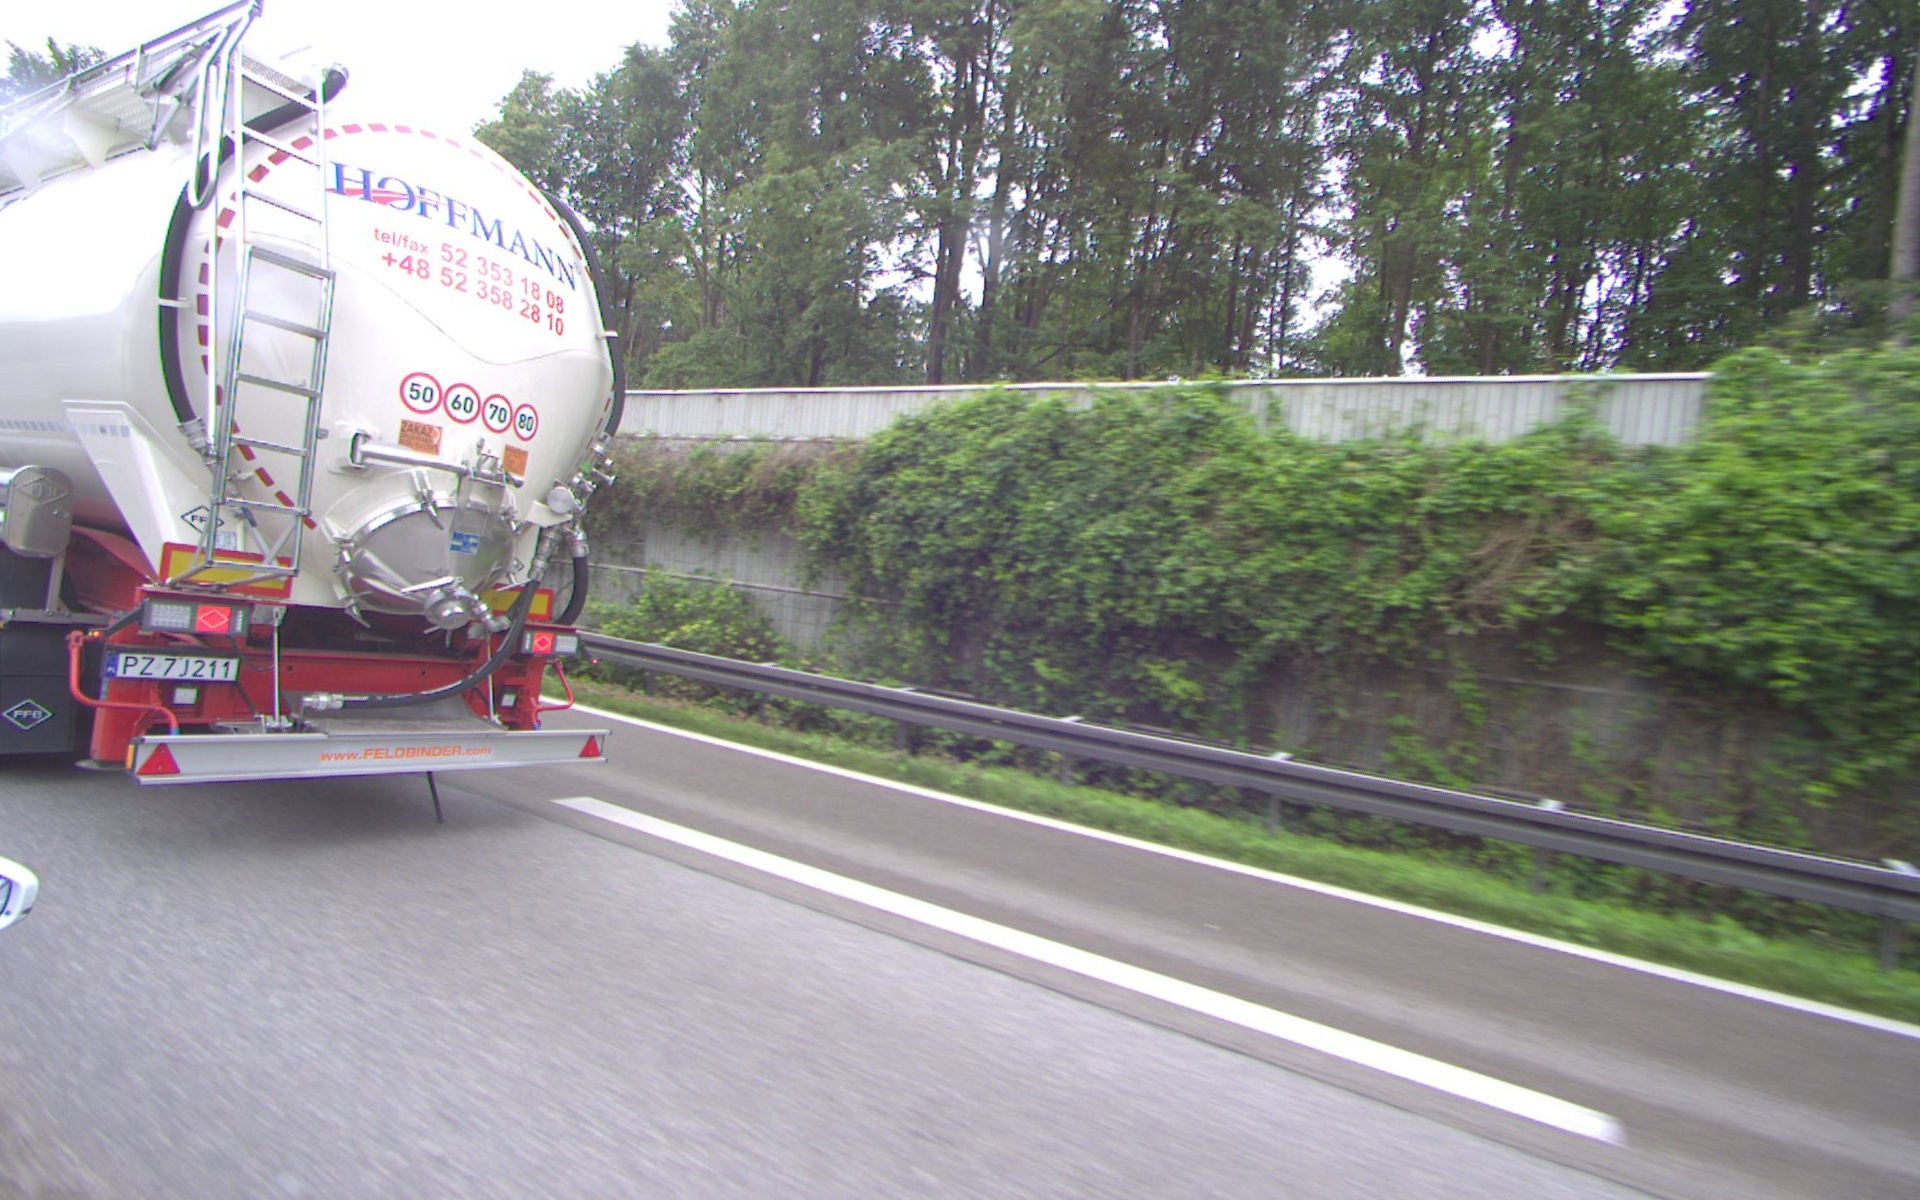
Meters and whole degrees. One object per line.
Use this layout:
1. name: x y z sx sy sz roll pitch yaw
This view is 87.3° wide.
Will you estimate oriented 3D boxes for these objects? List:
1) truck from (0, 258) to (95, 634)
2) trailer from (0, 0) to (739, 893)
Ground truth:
1. truck: -13.352 -1.984 11.933 6.449 3.960 2.698 6 0 33
2. trailer: -7.713 -1.368 8.405 12.912 3.987 2.672 7 0 32
